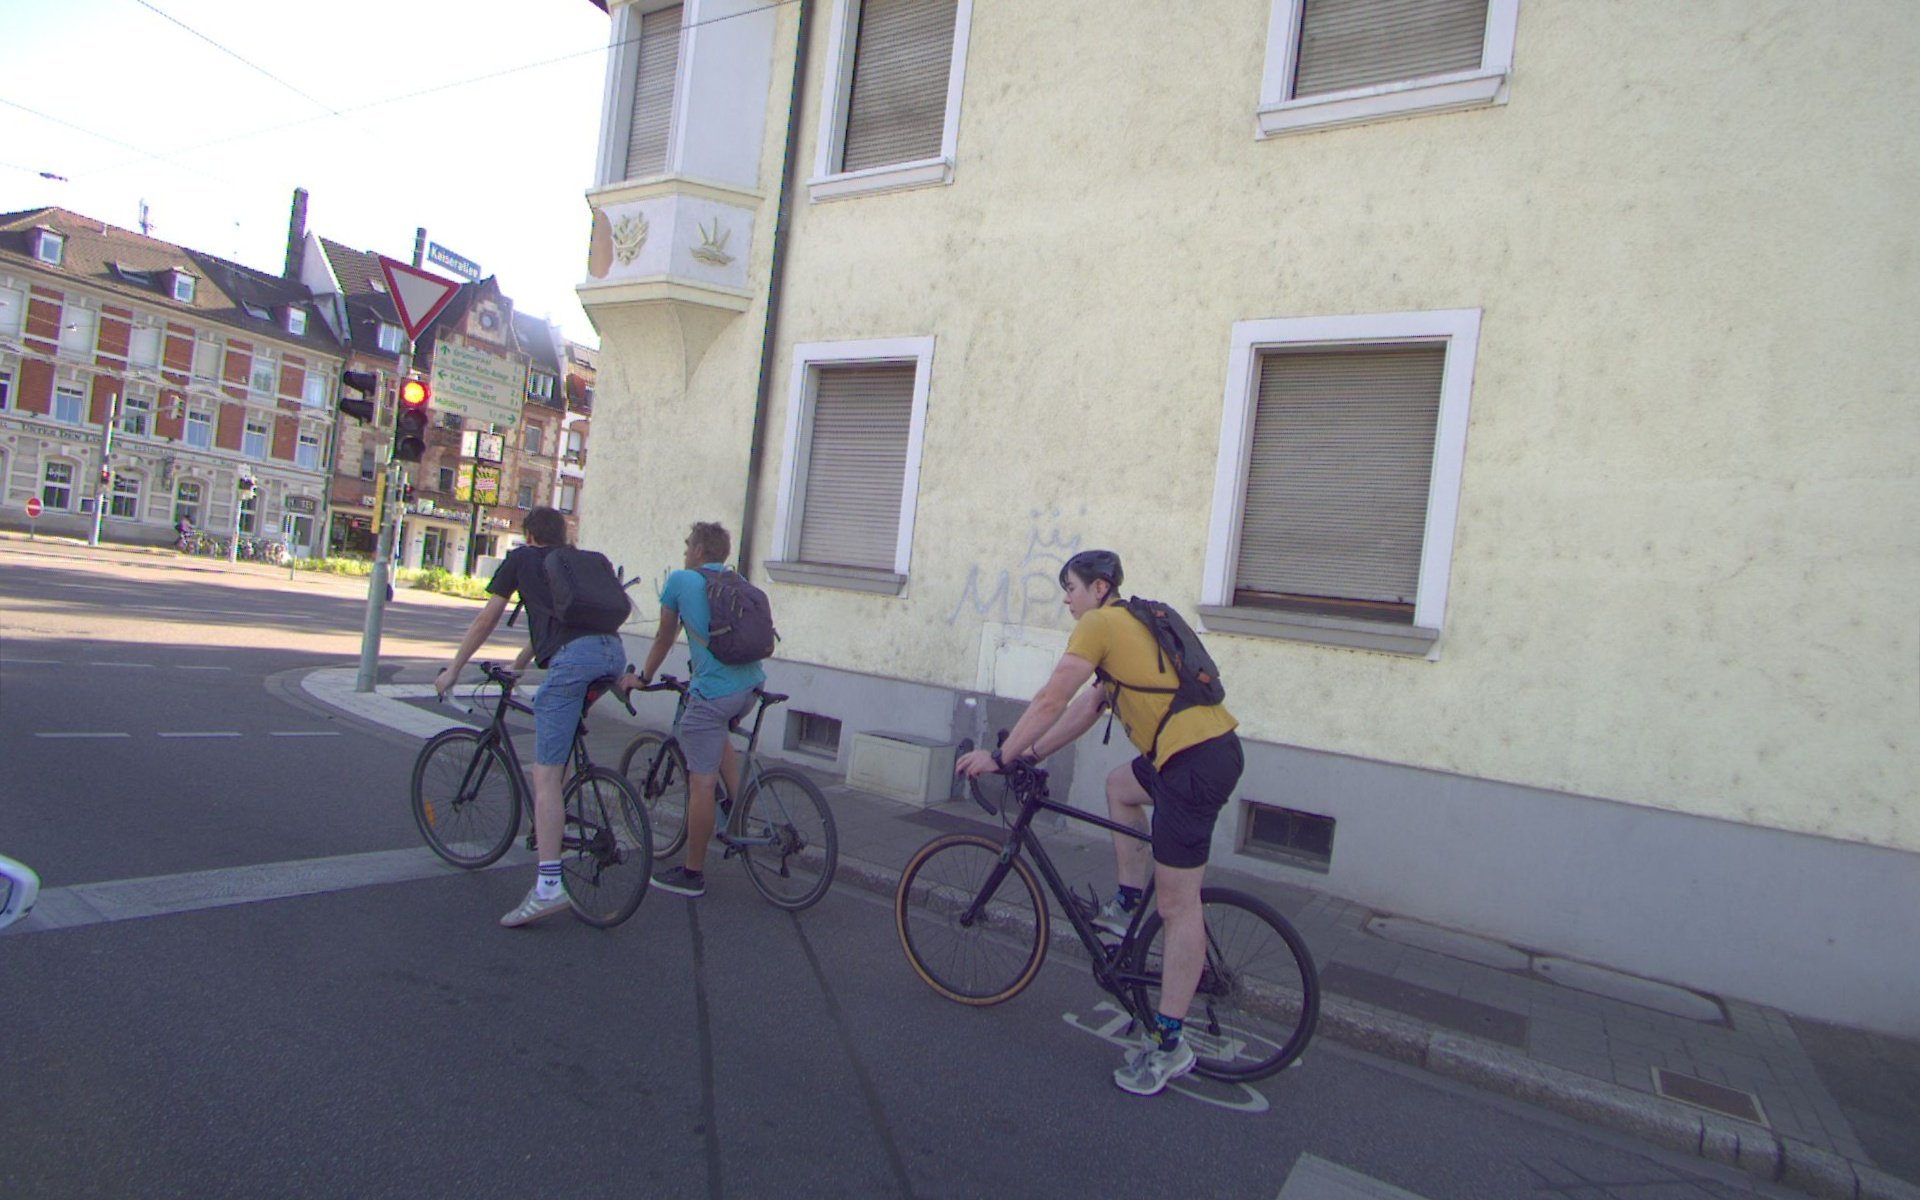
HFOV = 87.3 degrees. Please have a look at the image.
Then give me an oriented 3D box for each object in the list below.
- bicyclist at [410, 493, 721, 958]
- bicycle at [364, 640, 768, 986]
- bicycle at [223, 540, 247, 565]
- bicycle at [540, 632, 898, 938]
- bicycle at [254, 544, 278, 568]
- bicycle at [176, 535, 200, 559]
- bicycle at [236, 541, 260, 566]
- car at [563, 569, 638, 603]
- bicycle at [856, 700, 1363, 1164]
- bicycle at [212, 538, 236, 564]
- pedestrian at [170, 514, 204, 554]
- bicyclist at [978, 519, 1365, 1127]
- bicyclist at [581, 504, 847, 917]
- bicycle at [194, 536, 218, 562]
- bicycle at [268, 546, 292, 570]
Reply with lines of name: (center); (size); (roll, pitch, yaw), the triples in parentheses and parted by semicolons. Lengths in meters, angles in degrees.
bicyclist: (-1.752, 0.491, 4.473); (0.978, 1.788, 0.652); (7, 0, 32)
bicycle: (-1.801, 0.835, 4.471); (1.858, 1.071, 0.571); (7, 0, 32)
bicycle: (-34.006, -2.248, 47.173); (1.759, 1.033, 0.485); (7, 0, 42)
bicycle: (-1.311, 0.877, 5.284); (1.858, 1.180, 0.571); (7, 0, 32)
bicycle: (-33.315, -2.112, 48.293); (1.759, 1.033, 0.485); (7, 0, 42)
bicycle: (-35.069, -2.412, 45.667); (1.759, 0.925, 0.485); (7, 0, 42)
bicycle: (-33.678, -2.189, 47.565); (1.759, 1.033, 0.485); (7, 0, 42)
car: (-23.278, -0.894, 65.290); (1.966, 1.641, 4.261); (7, -1, 29)
bicycle: (0.511, 1.090, 3.776); (1.670, 1.180, 0.571); (7, 0, 32)
bicycle: (-34.192, -2.290, 46.749); (1.759, 1.033, 0.485); (7, 0, 42)
pedestrian: (-37.328, -3.183, 48.592); (0.620, 1.731, 1.035); (6, -1, 40)
bicyclist: (0.770, 0.696, 3.660); (1.019, 1.839, 0.652); (7, 0, 32)
bicyclist: (-1.288, 0.524, 5.274); (0.978, 1.910, 0.652); (7, 0, 32)
bicycle: (-34.643, -2.339, 46.204); (1.759, 1.033, 0.485); (7, 0, 42)
bicycle: (-33.095, -2.056, 48.981); (1.759, 1.033, 0.485); (7, 0, 42)
